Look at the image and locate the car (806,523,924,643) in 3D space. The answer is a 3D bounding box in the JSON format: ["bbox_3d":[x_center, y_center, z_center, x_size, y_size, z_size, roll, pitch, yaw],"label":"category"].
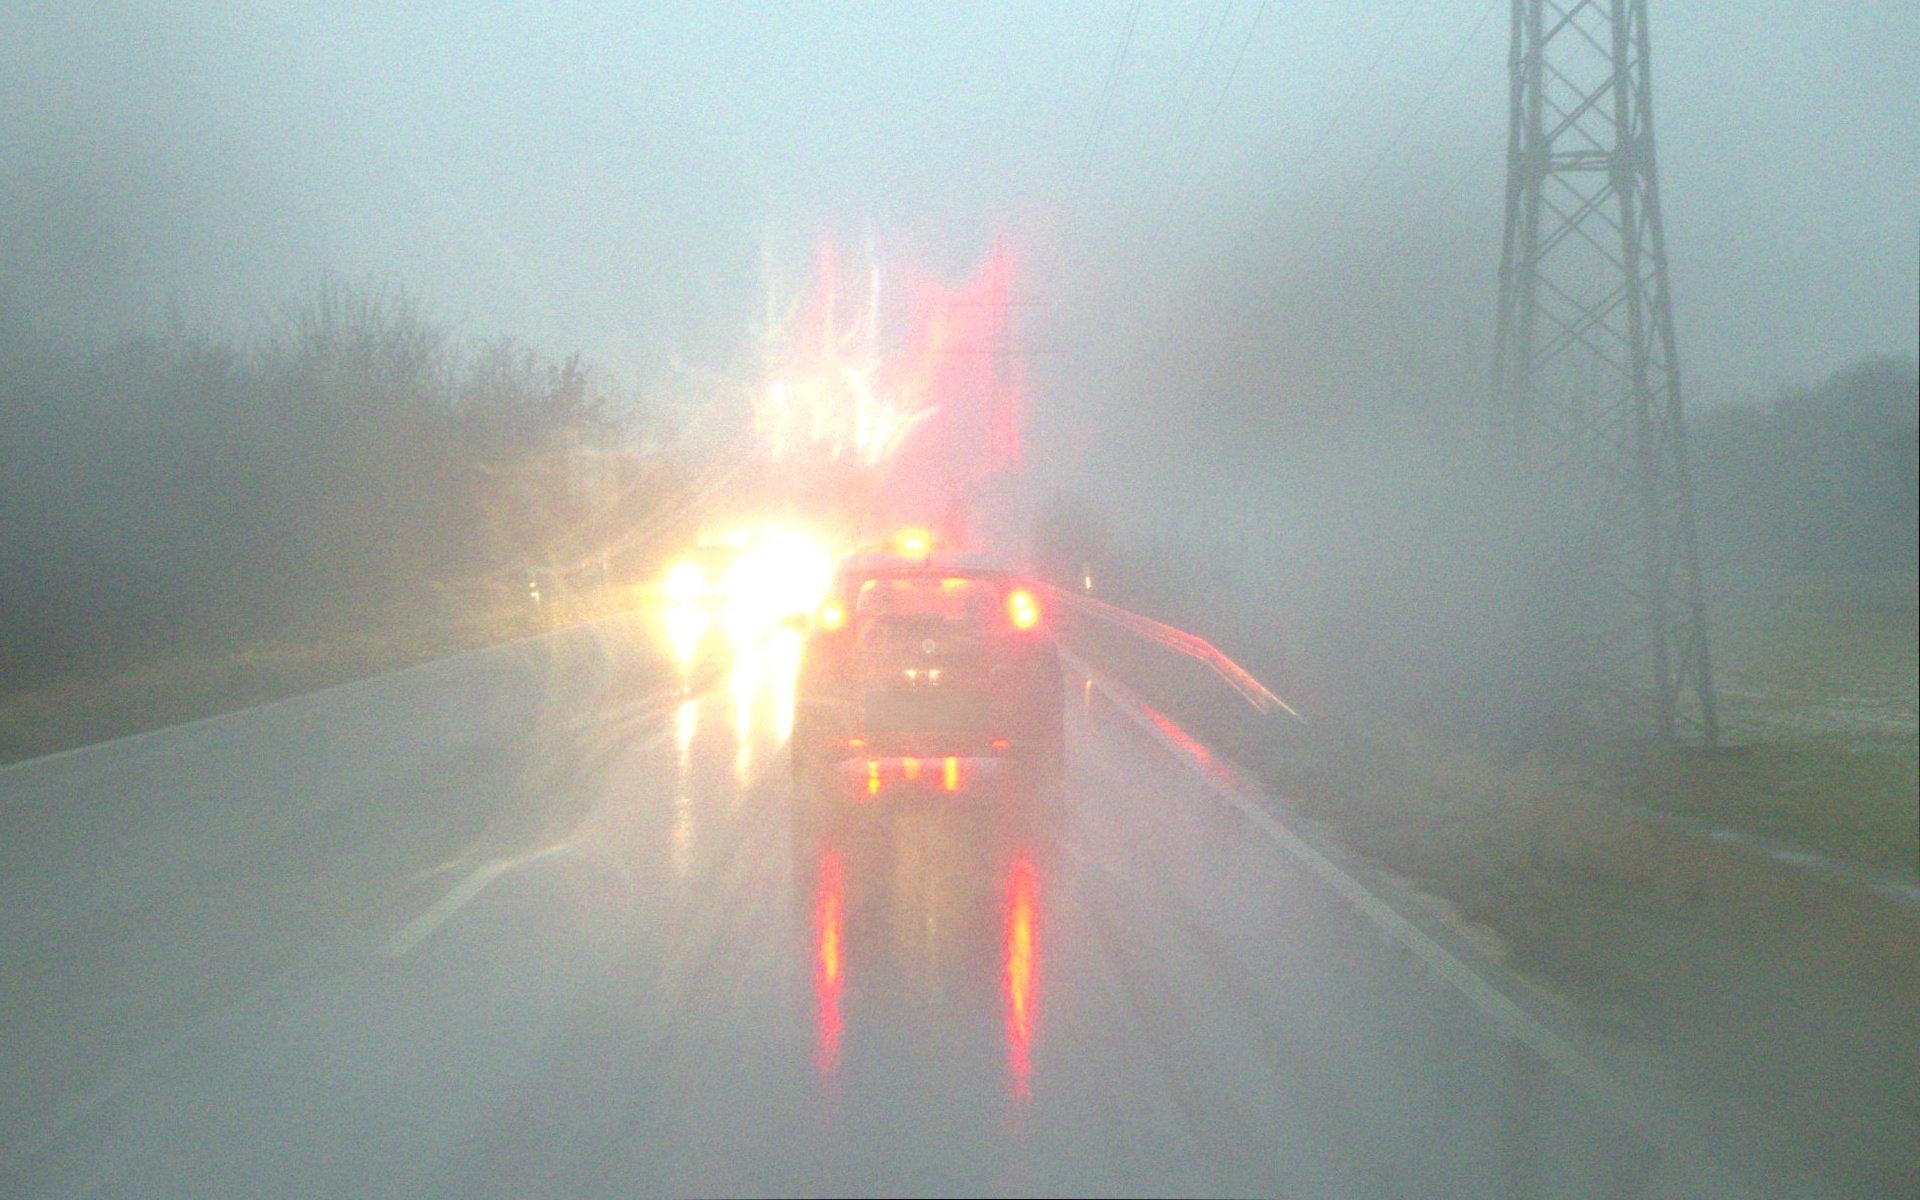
[{"bbox_3d":[-1.637,-0.317,60.523,1.993,2.007,4.000,-1,1,0],"label":"car"}]

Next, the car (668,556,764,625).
[{"bbox_3d":[-5.268,-0.196,74.602,1.828,1.404,4.000,1,-1,-1],"label":"car"}]

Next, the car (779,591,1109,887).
[{"bbox_3d":[-0.126,0.834,22.778,1.993,1.746,4.000,0,1,-1],"label":"car"}]
